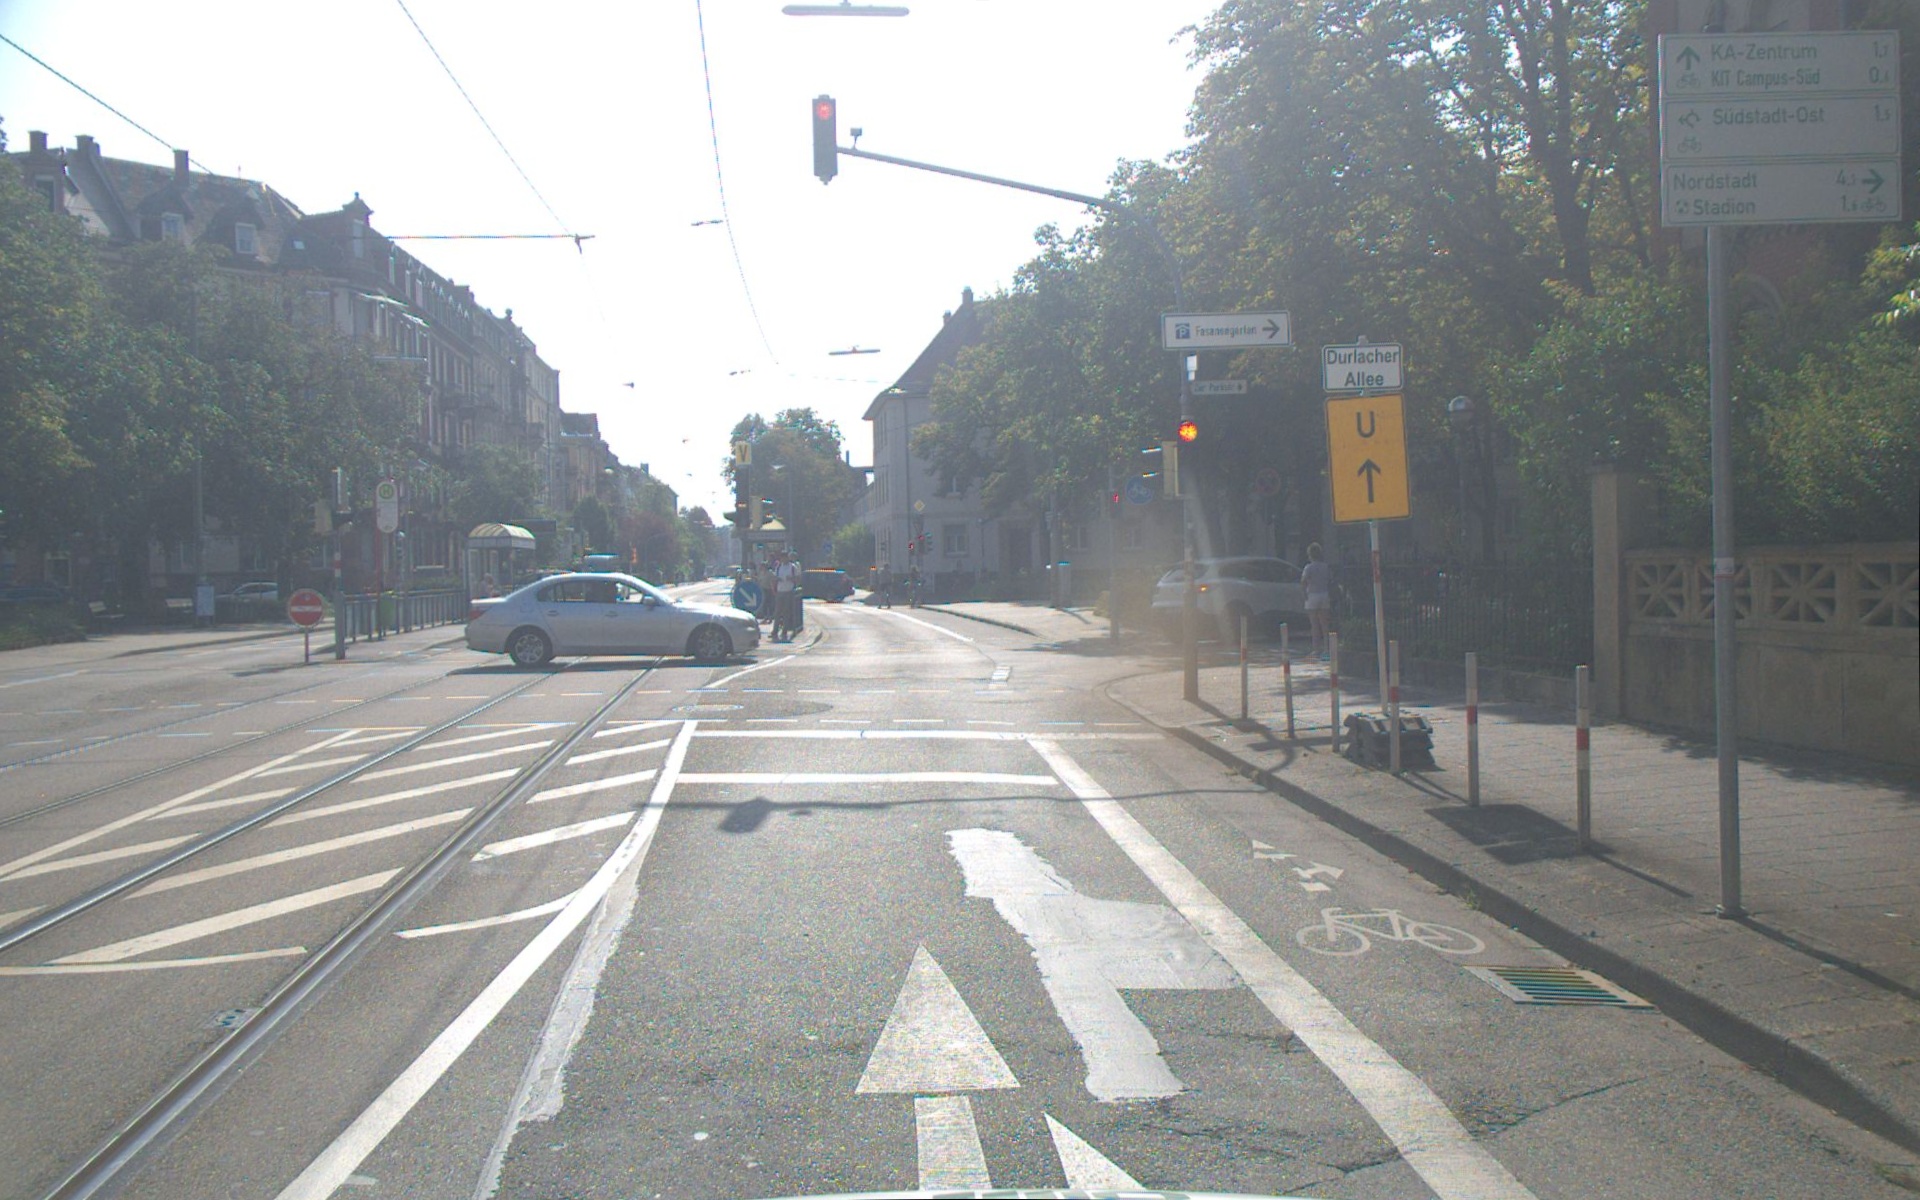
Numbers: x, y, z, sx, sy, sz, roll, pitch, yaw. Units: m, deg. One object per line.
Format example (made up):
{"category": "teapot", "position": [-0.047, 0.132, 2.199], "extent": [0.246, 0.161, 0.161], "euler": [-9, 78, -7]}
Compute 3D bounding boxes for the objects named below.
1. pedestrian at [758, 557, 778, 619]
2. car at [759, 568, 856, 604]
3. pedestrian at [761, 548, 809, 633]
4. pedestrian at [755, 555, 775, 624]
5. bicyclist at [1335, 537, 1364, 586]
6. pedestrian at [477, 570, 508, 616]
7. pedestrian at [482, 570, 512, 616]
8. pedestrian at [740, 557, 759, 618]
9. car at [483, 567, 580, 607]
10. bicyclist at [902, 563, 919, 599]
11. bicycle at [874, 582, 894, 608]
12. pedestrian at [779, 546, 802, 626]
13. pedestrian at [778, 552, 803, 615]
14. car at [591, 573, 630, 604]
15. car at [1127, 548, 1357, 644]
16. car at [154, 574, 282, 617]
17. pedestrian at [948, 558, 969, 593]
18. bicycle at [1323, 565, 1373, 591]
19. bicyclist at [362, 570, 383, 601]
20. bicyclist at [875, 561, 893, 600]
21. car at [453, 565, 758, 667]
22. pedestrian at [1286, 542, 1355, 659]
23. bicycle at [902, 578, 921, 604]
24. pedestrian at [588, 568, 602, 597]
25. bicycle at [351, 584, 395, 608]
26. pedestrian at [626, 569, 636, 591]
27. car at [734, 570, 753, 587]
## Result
{"category": "pedestrian", "position": [-5.647, -0.357, 48.662], "extent": [0.532, 1.790, 0.533], "euler": [1, 3, -7]}
{"category": "car", "position": [-7.207, -0.659, 78.248], "extent": [4.231, 1.596, 2.001], "euler": [-1, 1, 5]}
{"category": "pedestrian", "position": [-3.709, -0.213, 35.026], "extent": [0.686, 1.754, 0.747], "euler": [3, 3, 26]}
{"category": "pedestrian", "position": [-5.181, -0.281, 43.873], "extent": [0.494, 1.790, 0.533], "euler": [1, 3, -7]}
{"category": "bicyclist", "position": [15.248, -1.522, 64.796], "extent": [0.971, 1.889, 0.490], "euler": [-1, 1, 40]}
{"category": "pedestrian", "position": [-14.282, -0.211, 50.515], "extent": [0.813, 1.382, 0.774], "euler": [-1, 1, -11]}
{"category": "pedestrian", "position": [-14.415, -0.225, 51.482], "extent": [0.813, 1.382, 0.774], "euler": [-1, 1, -11]}
{"category": "pedestrian", "position": [-6.351, -0.377, 50.006], "extent": [0.522, 1.790, 0.544], "euler": [1, 3, -5]}
{"category": "car", "position": [-19.766, -0.620, 76.433], "extent": [4.248, 1.704, 1.993], "euler": [-2, 1, -14]}
{"category": "bicyclist", "position": [-1.972, -0.765, 66.318], "extent": [0.547, 1.441, 0.870], "euler": [-2, 1, -8]}
{"category": "bicycle", "position": [-3.069, -0.205, 66.868], "extent": [0.617, 0.995, 1.767], "euler": [-2, 1, -8]}
{"category": "pedestrian", "position": [-4.022, -0.336, 39.278], "extent": [0.494, 1.865, 0.533], "euler": [1, 3, -7]}
{"category": "pedestrian", "position": [-4.942, -0.475, 48.118], "extent": [0.695, 1.790, 0.533], "euler": [1, 3, -7]}
{"category": "car", "position": [-19.876, -0.699, 94.222], "extent": [1.767, 1.682, 3.638], "euler": [-1, 1, -6]}
{"category": "car", "position": [5.483, -0.109, 31.961], "extent": [4.286, 1.658, 1.974], "euler": [-3, 2, -37]}
{"category": "car", "position": [-30.011, -0.181, 67.016], "extent": [1.964, 1.596, 4.312], "euler": [0, 1, 41]}
{"category": "pedestrian", "position": [-0.084, -1.259, 84.676], "extent": [0.872, 1.770, 0.777], "euler": [-1, 1, 16]}
{"category": "bicycle", "position": [15.210, -0.862, 64.842], "extent": [1.906, 0.995, 0.494], "euler": [0, 1, 40]}
{"category": "bicyclist", "position": [-26.022, -0.659, 73.283], "extent": [0.806, 1.351, 0.546], "euler": [-2, 1, -17]}
{"category": "bicyclist", "position": [-3.077, -0.785, 66.856], "extent": [0.617, 1.533, 0.677], "euler": [-2, 1, -8]}
{"category": "car", "position": [-5.722, 0.229, 27.217], "extent": [4.679, 1.492, 1.868], "euler": [-1, 1, -6]}
{"category": "pedestrian", "position": [5.550, 0.003, 25.472], "extent": [0.737, 1.761, 0.768], "euler": [-2, 1, -15]}
{"category": "bicycle", "position": [-1.955, -0.386, 66.312], "extent": [0.547, 0.995, 1.853], "euler": [-2, 1, -8]}
{"category": "pedestrian", "position": [-22.495, -1.090, 101.979], "extent": [0.737, 1.761, 0.768], "euler": [-2, 1, -15]}
{"category": "bicycle", "position": [-26.006, -0.191, 73.293], "extent": [1.821, 0.974, 0.546], "euler": [-2, 1, -18]}
{"category": "pedestrian", "position": [-27.552, -1.682, 138.556], "extent": [0.737, 1.761, 0.768], "euler": [-2, 1, -15]}
{"category": "car", "position": [-22.650, -2.295, 173.295], "extent": [1.767, 1.682, 3.638], "euler": [-1, 1, -6]}
